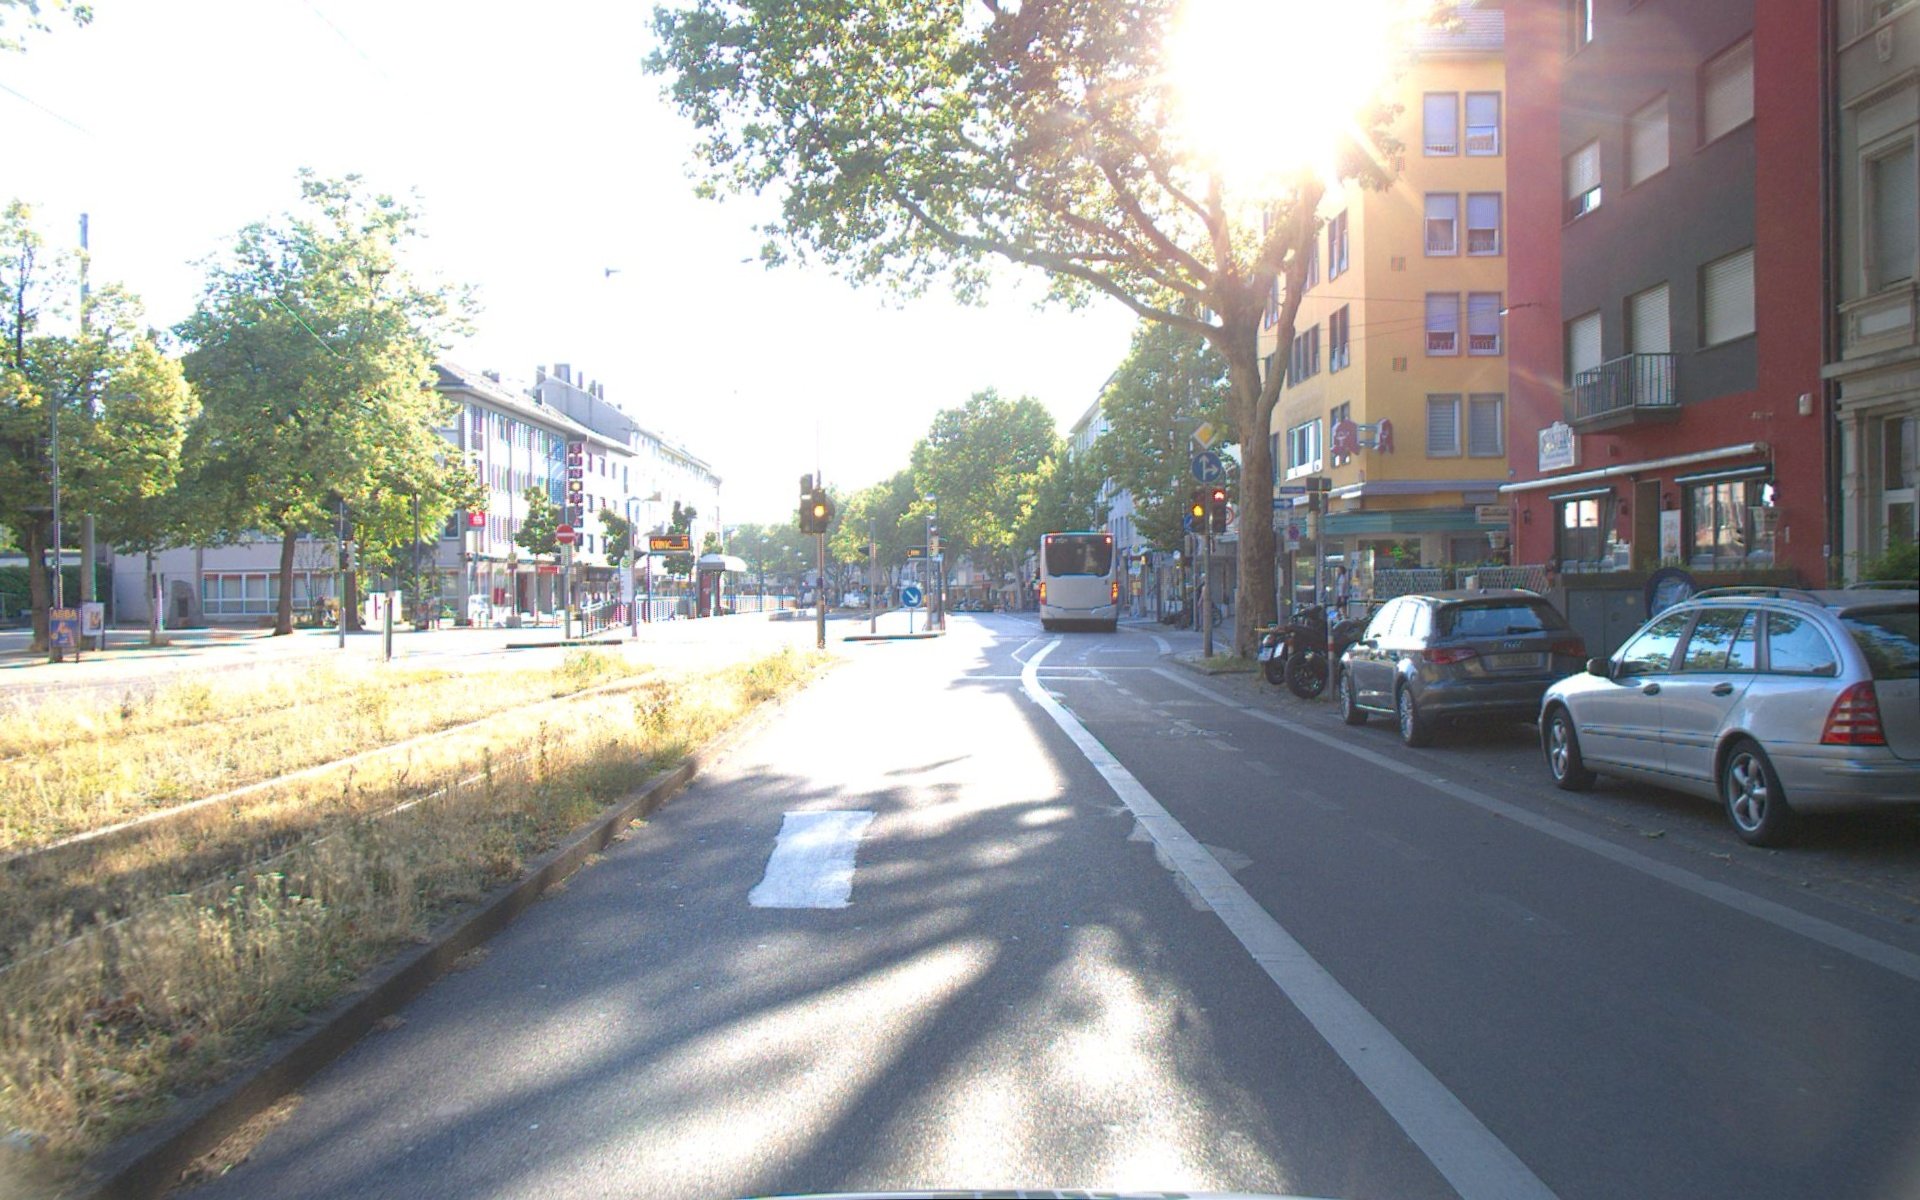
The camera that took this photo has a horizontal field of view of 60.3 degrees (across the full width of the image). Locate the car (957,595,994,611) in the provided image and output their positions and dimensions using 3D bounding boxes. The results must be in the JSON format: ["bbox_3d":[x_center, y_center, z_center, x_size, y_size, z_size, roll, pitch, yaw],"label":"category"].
[{"bbox_3d":[1.724,0.364,184.627,3.847,1.729,1.816,-1,1,-29],"label":"car"}]

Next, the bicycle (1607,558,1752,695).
[{"bbox_3d":[8.187,0.279,18.930,0.594,1.451,2.396,1,0,0],"label":"bicycle"}]

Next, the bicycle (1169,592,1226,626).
[{"bbox_3d":[7.724,0.290,53.875,1.736,1.039,0.694,-2,0,-1],"label":"bicycle"}]

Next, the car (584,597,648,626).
[{"bbox_3d":[-23.375,0.776,112.421,3.939,1.847,1.983,-1,0,-27],"label":"car"}]

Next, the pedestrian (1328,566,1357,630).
[{"bbox_3d":[11.078,-0.059,47.934,0.666,1.801,0.687,1,0,0],"label":"pedestrian"}]

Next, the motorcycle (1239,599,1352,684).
[{"bbox_3d":[5.003,0.600,24.568,1.982,1.172,0.592,-2,1,-43],"label":"motorcycle"}]

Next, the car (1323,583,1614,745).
[{"bbox_3d":[5.054,0.550,17.047,1.675,1.421,4.322,-1,1,0],"label":"car"}]

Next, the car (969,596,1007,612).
[{"bbox_3d":[3.054,0.418,181.332,3.847,1.729,1.816,-1,1,-29],"label":"car"}]

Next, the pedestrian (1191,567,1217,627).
[{"bbox_3d":[7.399,-0.090,50.249,0.666,1.801,0.687,-1,0,0],"label":"pedestrian"}]

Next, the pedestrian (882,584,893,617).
[{"bbox_3d":[-2.013,0.016,46.107,0.285,0.890,0.344,1,0,-3],"label":"pedestrian"}]

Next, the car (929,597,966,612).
[{"bbox_3d":[-1.428,0.516,189.221,3.847,1.624,1.675,-1,1,-29],"label":"car"}]

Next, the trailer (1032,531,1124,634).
[{"bbox_3d":[3.903,-0.568,56.500,2.753,3.164,8.796,1,0,2],"label":"trailer"}]

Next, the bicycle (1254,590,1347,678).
[{"bbox_3d":[5.359,0.514,25.949,0.683,1.224,1.839,1,4,38],"label":"bicycle"}]

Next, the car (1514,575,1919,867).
[{"bbox_3d":[5.287,0.590,10.783,1.640,1.477,4.569,-1,1,-2],"label":"car"}]

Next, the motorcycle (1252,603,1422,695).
[{"bbox_3d":[5.109,0.637,22.394,2.176,1.081,0.762,-3,1,-23],"label":"motorcycle"}]
